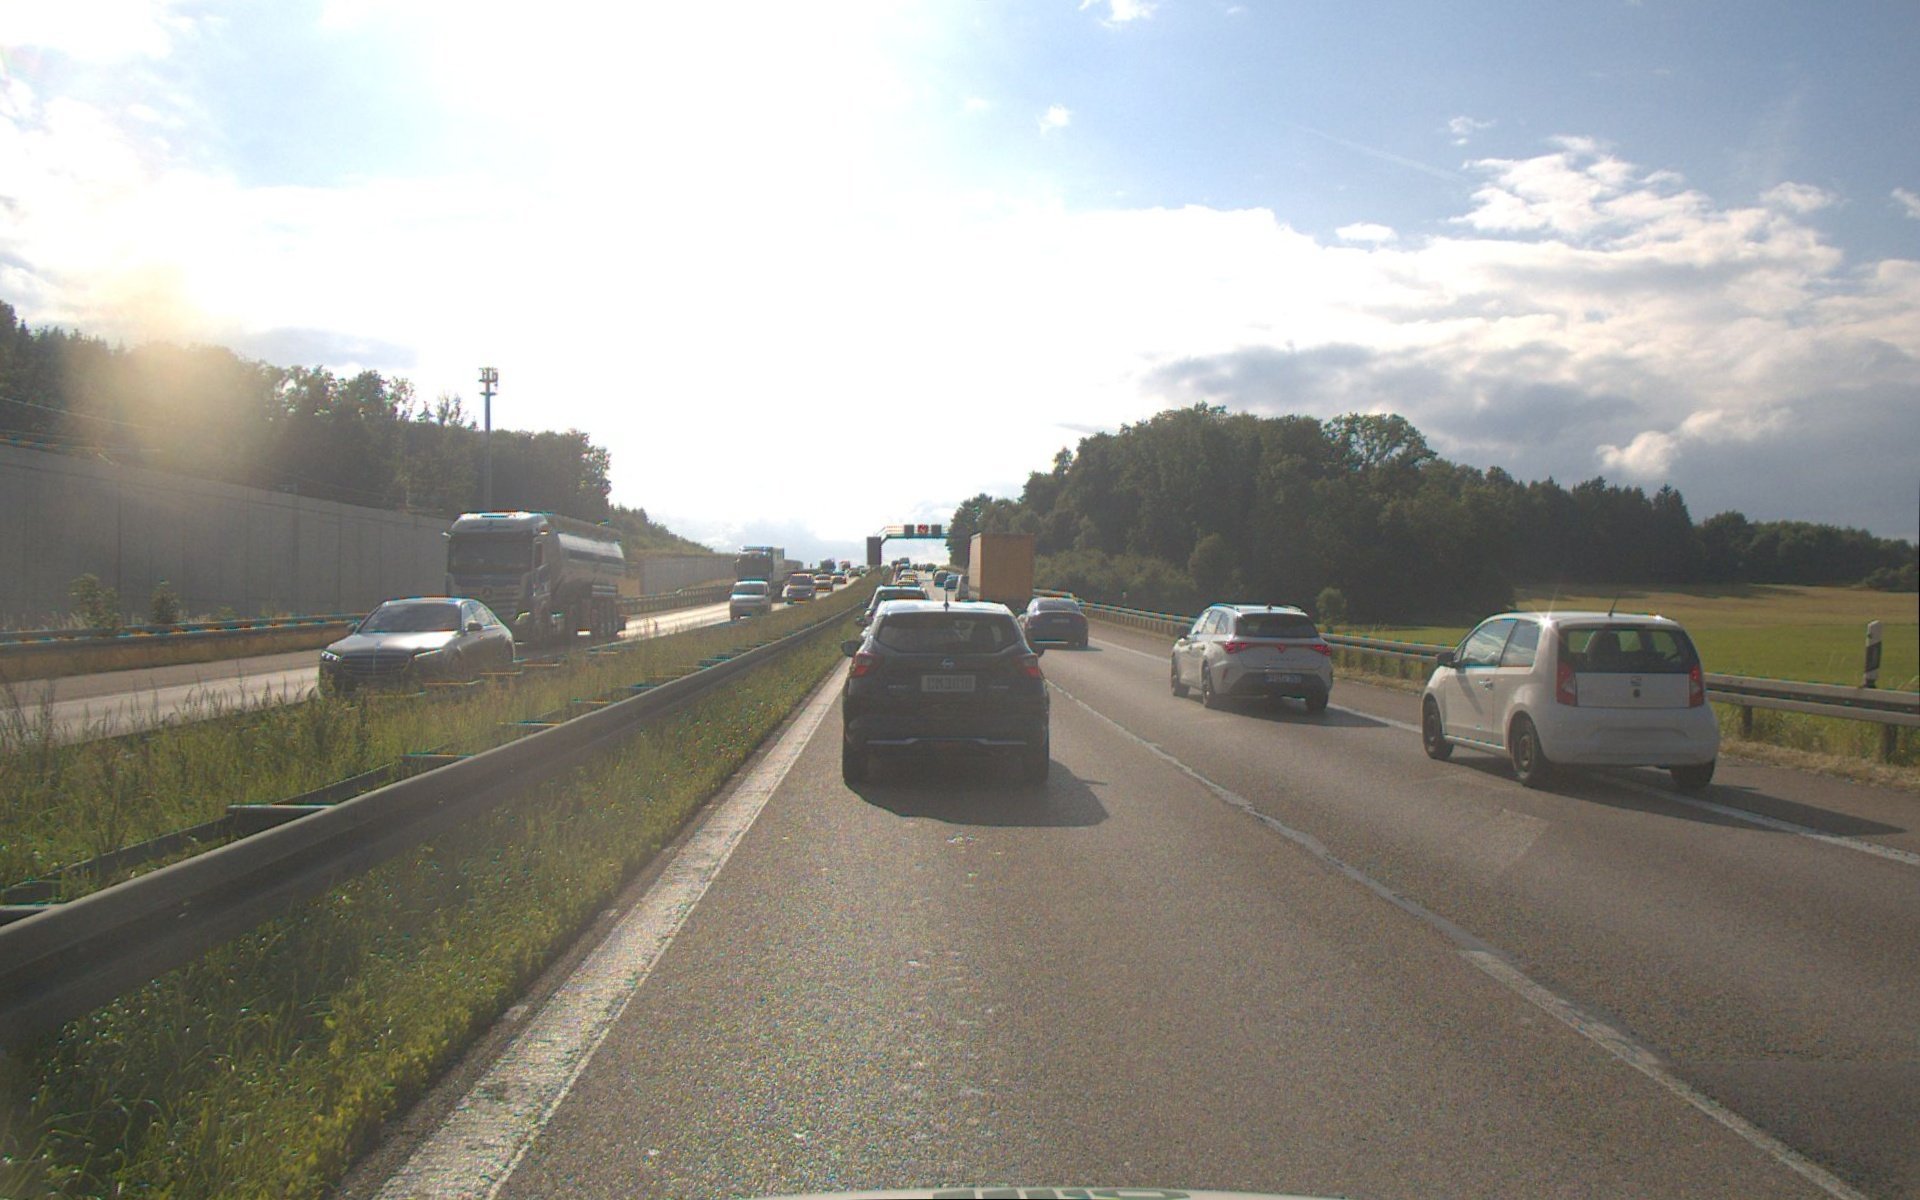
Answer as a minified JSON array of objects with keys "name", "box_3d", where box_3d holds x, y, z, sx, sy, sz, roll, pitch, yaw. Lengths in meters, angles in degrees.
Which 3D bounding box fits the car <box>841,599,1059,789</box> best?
[{"name":"car","box_3d":[-0.081,0.747,14.551,1.675,1.451,3.377,1,0,0]}]

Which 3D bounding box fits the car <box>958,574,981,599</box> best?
[{"name":"car","box_3d":[0.675,-0.998,122.853,1.633,1.785,3.326,1,0,0]}]

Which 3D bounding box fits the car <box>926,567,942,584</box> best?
[{"name":"car","box_3d":[-3.316,-3.096,212.959,1.954,2.049,3.998,1,0,-3]}]

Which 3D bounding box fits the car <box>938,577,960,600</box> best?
[{"name":"car","box_3d":[-1.075,-1.093,158.549,1.954,2.049,3.998,1,0,-3]}]

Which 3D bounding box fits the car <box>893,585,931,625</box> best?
[{"name":"car","box_3d":[-2.566,0.285,87.874,1.954,2.049,3.998,1,0,-3]}]

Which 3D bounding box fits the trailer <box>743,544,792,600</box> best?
[{"name":"trailer","box_3d":[-15.182,-2.107,131.448,2.704,4.187,12.899,0,0,-2]}]

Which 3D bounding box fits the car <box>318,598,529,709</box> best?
[{"name":"car","box_3d":[-8.193,0.767,25.720,1.766,1.543,4.689,1,0,-1]}]

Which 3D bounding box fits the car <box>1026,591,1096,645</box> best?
[{"name":"car","box_3d":[2.901,0.523,48.351,1.711,1.501,4.146,1,0,-1]}]

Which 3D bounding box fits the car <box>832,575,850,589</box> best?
[{"name":"car","box_3d":[-13.961,-2.105,194.173,1.864,1.490,4.182,1,0,-2]}]

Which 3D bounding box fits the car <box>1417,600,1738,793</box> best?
[{"name":"car","box_3d":[5.500,0.787,15.160,1.518,1.521,3.376,1,0,-3]}]

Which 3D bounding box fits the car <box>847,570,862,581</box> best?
[{"name":"car","box_3d":[-15.174,-3.500,237.717,1.954,1.458,4.446,1,0,-3]}]

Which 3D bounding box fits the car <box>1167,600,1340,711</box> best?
[{"name":"car","box_3d":[4.195,0.759,24.233,1.588,1.471,4.144,1,0,-3]}]

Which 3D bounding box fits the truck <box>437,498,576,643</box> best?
[{"name":"truck","box_3d":[-12.817,-0.780,47.165,2.501,3.865,5.416,-1,0,-1]}]

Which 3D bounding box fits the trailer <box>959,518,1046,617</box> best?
[{"name":"trailer","box_3d":[1.975,-1.481,83.224,3.477,4.535,12.715,1,0,-2]}]

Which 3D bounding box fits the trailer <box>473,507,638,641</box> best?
[{"name":"trailer","box_3d":[-12.934,-0.725,54.180,2.489,3.837,12.537,-1,0,-1]}]

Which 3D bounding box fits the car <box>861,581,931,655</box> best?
[{"name":"car","box_3d":[-1.568,0.435,41.548,1.640,1.756,3.595,1,0,-1]}]

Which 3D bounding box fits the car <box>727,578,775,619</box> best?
[{"name":"car","box_3d":[-10.023,-0.048,79.579,1.822,1.866,4.279,1,0,-1]}]

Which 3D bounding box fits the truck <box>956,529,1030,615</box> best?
[{"name":"truck","box_3d":[1.738,-1.450,89.796,3.510,4.456,6.684,1,0,-3]}]

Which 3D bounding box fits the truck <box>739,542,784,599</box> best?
[{"name":"truck","box_3d":[-14.959,-2.152,124.867,2.698,4.162,6.950,0,0,-2]}]

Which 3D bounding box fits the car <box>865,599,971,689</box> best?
[{"name":"car","box_3d":[-0.677,0.706,27.681,1.640,1.391,3.595,1,0,-1]}]

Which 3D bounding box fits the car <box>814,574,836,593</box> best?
[{"name":"car","box_3d":[-12.602,-1.527,154.592,1.850,1.660,5.108,1,0,-2]}]

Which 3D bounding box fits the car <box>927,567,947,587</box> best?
[{"name":"car","box_3d":[-2.481,-2.416,177.985,1.954,2.049,3.998,1,0,-3]}]

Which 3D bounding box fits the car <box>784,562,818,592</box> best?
[{"name":"car","box_3d":[-11.099,-1.597,115.815,1.953,1.916,4.785,-2,0,-2]}]
